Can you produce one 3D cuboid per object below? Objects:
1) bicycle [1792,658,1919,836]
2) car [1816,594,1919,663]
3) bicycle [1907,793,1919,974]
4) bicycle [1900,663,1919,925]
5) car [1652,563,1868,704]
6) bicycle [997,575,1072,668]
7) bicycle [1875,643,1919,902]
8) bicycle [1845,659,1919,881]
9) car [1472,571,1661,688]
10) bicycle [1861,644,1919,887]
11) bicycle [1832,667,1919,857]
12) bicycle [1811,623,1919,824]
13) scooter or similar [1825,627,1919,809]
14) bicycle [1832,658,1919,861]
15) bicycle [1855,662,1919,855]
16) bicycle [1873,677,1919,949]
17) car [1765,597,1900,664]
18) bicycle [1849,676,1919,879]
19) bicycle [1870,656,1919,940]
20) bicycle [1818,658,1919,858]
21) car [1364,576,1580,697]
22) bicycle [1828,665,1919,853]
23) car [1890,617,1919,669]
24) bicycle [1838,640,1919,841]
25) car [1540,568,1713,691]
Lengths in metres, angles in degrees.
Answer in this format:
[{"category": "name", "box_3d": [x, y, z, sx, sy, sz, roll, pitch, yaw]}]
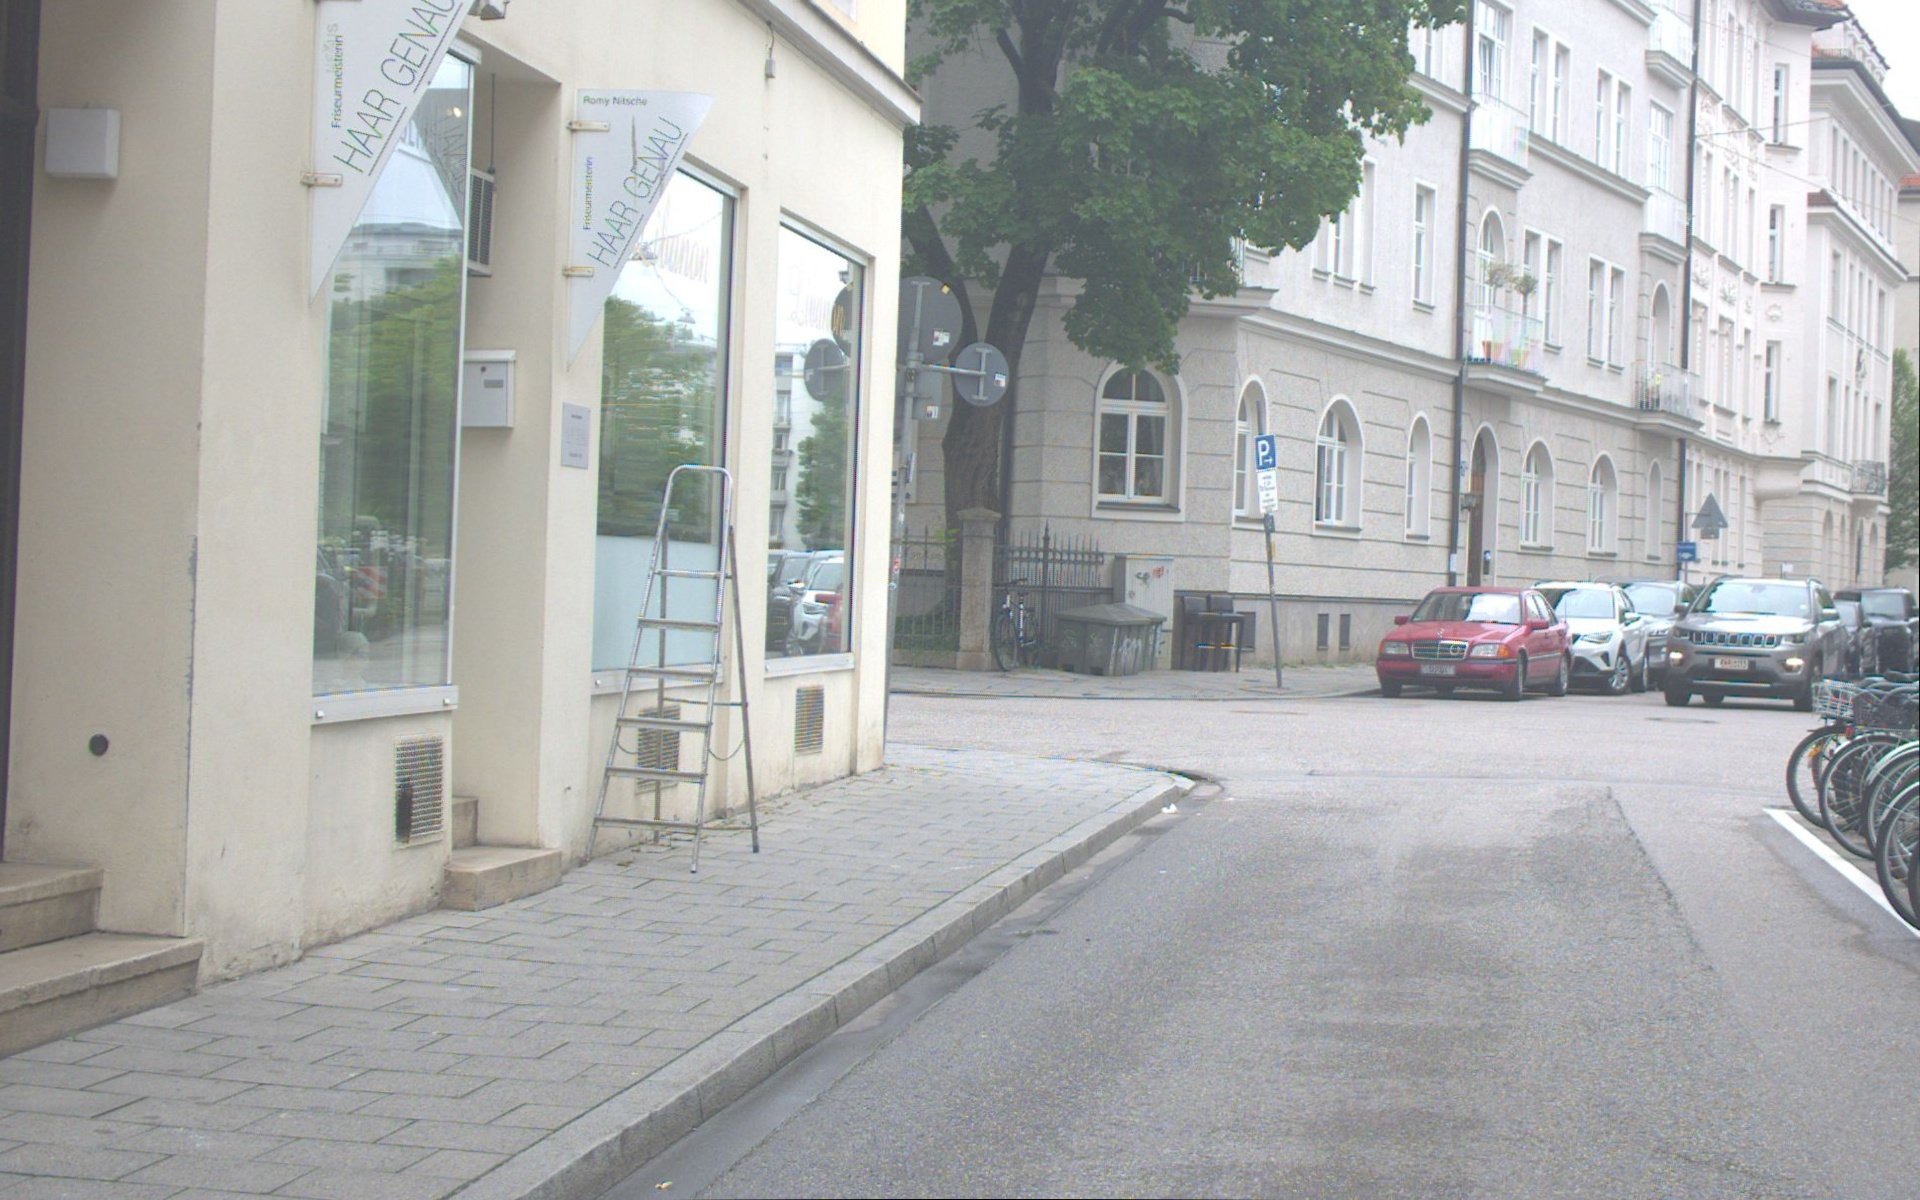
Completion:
[{"category": "bicycle", "box_3d": [6.069, 0.942, 21.761, 1.451, 1.066, 0.463, 3, 1, 2]}, {"category": "car", "box_3d": [19.270, 0.595, 71.985, 1.909, 1.324, 3.995, 3, 1, 24]}, {"category": "bicycle", "box_3d": [4.734, 0.993, 13.426, 1.874, 1.076, 0.488, 4, 2, 7]}, {"category": "bicycle", "box_3d": [5.303, 0.938, 15.588, 1.874, 1.153, 0.565, 4, 2, 7]}, {"category": "car", "box_3d": [10.002, 0.397, 42.767, 1.959, 1.602, 4.304, 2, 1, 22]}, {"category": "bicycle", "box_3d": [0.930, 0.255, 42.662, 0.494, 1.049, 1.826, 2, 3, 14]}, {"category": "bicycle", "box_3d": [5.355, 0.833, 16.320, 1.874, 1.200, 0.579, 1, 0, 7]}, {"category": "bicycle", "box_3d": [5.511, 0.891, 17.481, 1.874, 1.091, 0.440, 2, 2, 6]}, {"category": "car", "box_3d": [8.447, 0.396, 47.619, 1.995, 1.468, 4.215, 2, 1, 17]}, {"category": "bicycle", "box_3d": [5.464, 0.834, 16.939, 1.894, 1.166, 0.566, 2, 1, 7]}, {"category": "bicycle", "box_3d": [6.000, 0.968, 20.101, 1.674, 1.076, 0.336, 2, 2, 6]}, {"category": "bicycle", "box_3d": [6.416, 0.831, 22.725, 1.457, 1.281, 0.445, 3, 1, 11]}, {"category": "scooter or similar", "box_3d": [6.643, 0.816, 23.494, 1.353, 1.206, 0.417, 2, 0, 11]}, {"category": "bicycle", "box_3d": [5.789, 0.902, 18.854, 1.874, 1.076, 0.402, 2, 2, 6]}, {"category": "bicycle", "box_3d": [6.008, 0.932, 19.709, 1.613, 1.076, 0.378, 2, 2, 6]}, {"category": "bicycle", "box_3d": [4.865, 0.949, 14.443, 1.874, 1.104, 0.488, 4, 2, 7]}, {"category": "car", "box_3d": [17.293, 0.594, 68.024, 1.909, 1.218, 3.995, 3, 1, 24]}, {"category": "bicycle", "box_3d": [5.716, 0.961, 18.159, 1.874, 1.048, 0.564, 2, -1, 6]}, {"category": "bicycle", "box_3d": [4.976, 0.894, 14.951, 1.874, 1.200, 0.488, 2, 2, 7]}, {"category": "bicycle", "box_3d": [5.822, 0.909, 19.294, 1.874, 1.076, 0.408, 2, 2, 6]}, {"category": "car", "box_3d": [6.459, 0.441, 43.024, 1.732, 1.373, 4.222, 2, 1, 21]}, {"category": "bicycle", "box_3d": [6.120, 0.970, 20.500, 1.740, 1.076, 0.452, 2, 2, 6]}, {"category": "car", "box_3d": [23.676, 1.049, 82.934, 1.909, 1.218, 3.995, 3, 1, 22]}, {"category": "bicycle", "box_3d": [6.235, 0.888, 21.275, 1.451, 1.203, 0.395, 3, 1, 2]}, {"category": "car", "box_3d": [10.147, 0.435, 52.131, 1.945, 1.696, 3.996, 3, 1, 19]}]
